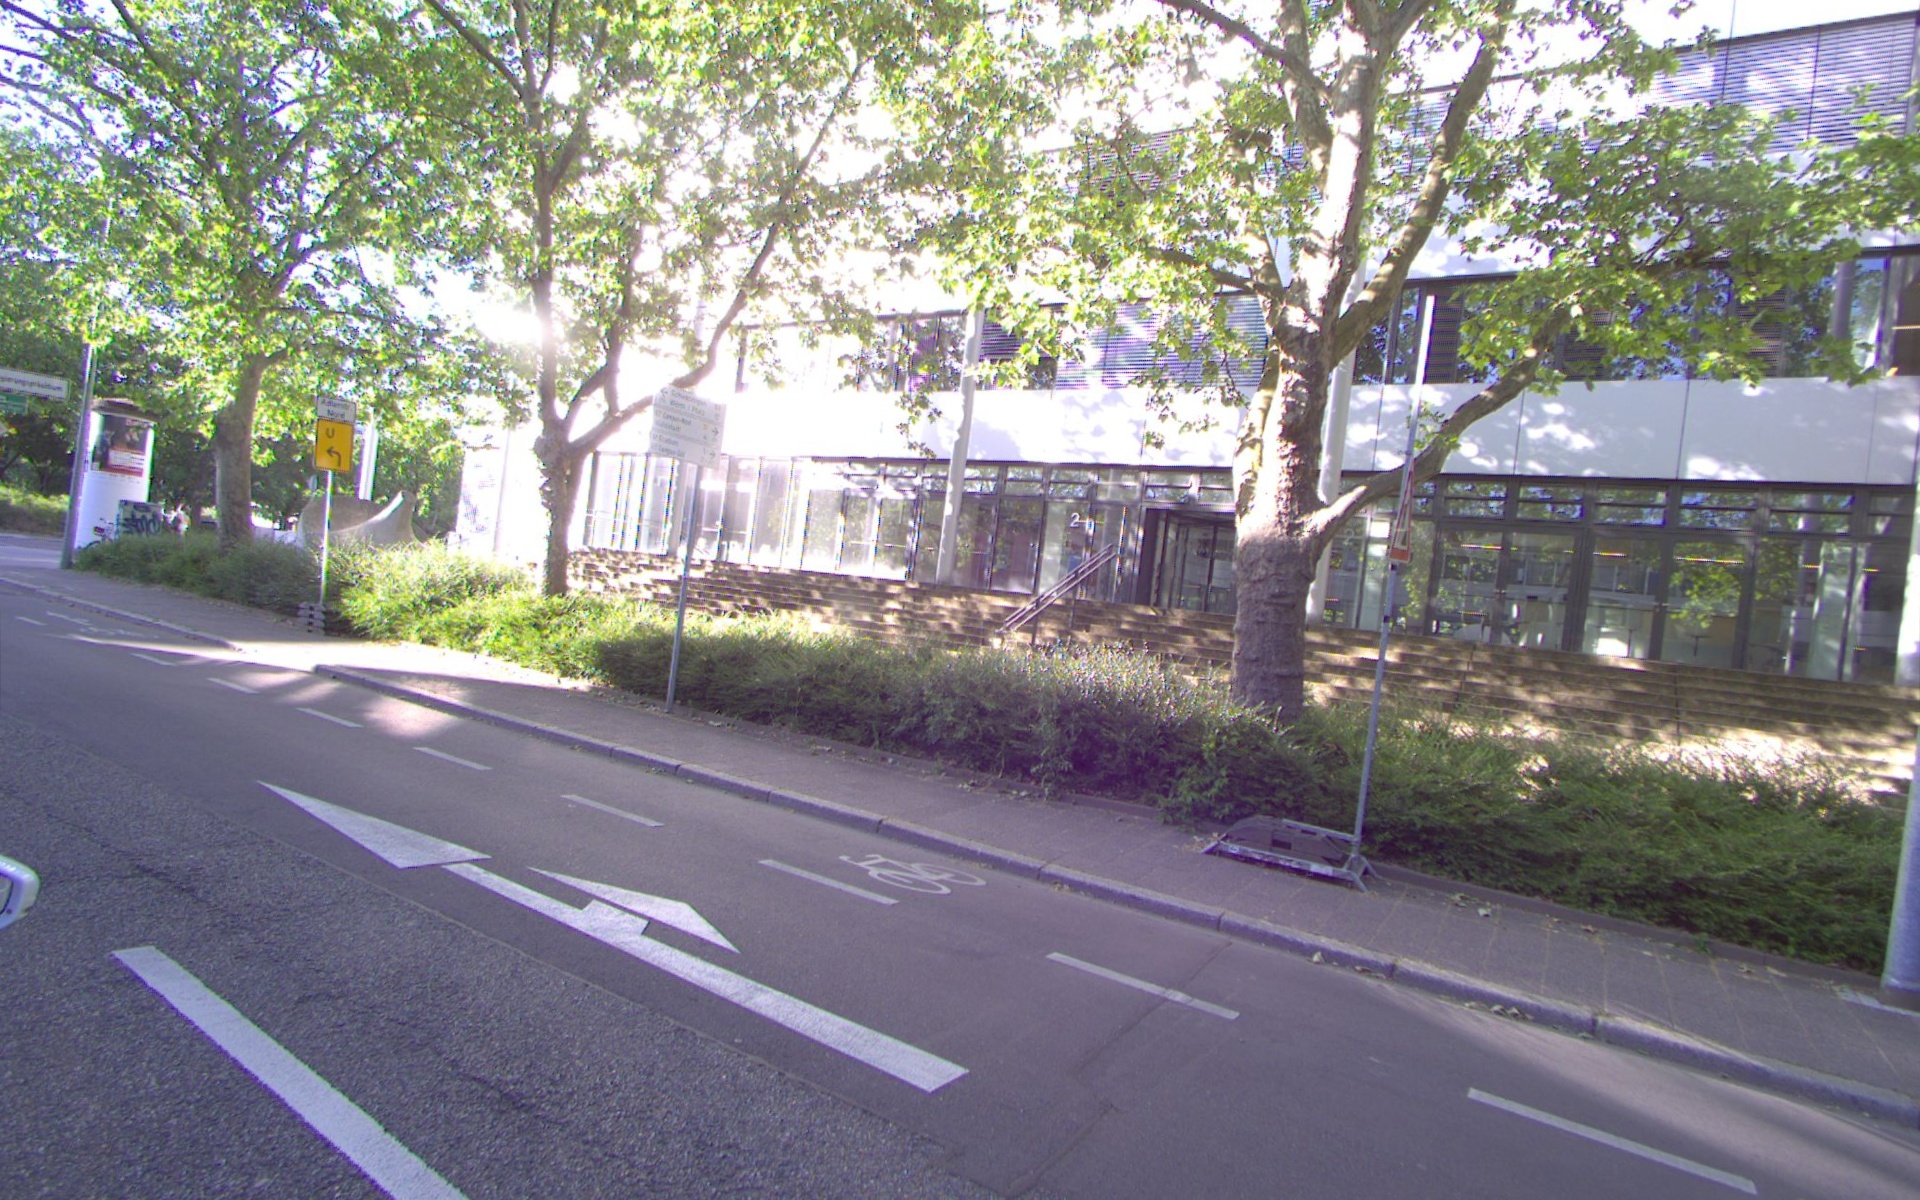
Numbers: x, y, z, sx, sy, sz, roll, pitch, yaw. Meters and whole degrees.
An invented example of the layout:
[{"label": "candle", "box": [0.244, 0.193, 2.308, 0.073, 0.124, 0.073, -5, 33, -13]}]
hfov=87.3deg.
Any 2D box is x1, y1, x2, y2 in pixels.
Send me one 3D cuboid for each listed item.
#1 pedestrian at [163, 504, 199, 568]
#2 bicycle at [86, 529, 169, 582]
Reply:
[{"label": "pedestrian", "box": [-24.222, -1.991, 31.280, 0.584, 1.871, 0.552, 7, 0, 33]}, {"label": "bicycle", "box": [-19.213, -1.013, 23.231, 0.357, 1.036, 1.354, 7, -1, 33]}]
